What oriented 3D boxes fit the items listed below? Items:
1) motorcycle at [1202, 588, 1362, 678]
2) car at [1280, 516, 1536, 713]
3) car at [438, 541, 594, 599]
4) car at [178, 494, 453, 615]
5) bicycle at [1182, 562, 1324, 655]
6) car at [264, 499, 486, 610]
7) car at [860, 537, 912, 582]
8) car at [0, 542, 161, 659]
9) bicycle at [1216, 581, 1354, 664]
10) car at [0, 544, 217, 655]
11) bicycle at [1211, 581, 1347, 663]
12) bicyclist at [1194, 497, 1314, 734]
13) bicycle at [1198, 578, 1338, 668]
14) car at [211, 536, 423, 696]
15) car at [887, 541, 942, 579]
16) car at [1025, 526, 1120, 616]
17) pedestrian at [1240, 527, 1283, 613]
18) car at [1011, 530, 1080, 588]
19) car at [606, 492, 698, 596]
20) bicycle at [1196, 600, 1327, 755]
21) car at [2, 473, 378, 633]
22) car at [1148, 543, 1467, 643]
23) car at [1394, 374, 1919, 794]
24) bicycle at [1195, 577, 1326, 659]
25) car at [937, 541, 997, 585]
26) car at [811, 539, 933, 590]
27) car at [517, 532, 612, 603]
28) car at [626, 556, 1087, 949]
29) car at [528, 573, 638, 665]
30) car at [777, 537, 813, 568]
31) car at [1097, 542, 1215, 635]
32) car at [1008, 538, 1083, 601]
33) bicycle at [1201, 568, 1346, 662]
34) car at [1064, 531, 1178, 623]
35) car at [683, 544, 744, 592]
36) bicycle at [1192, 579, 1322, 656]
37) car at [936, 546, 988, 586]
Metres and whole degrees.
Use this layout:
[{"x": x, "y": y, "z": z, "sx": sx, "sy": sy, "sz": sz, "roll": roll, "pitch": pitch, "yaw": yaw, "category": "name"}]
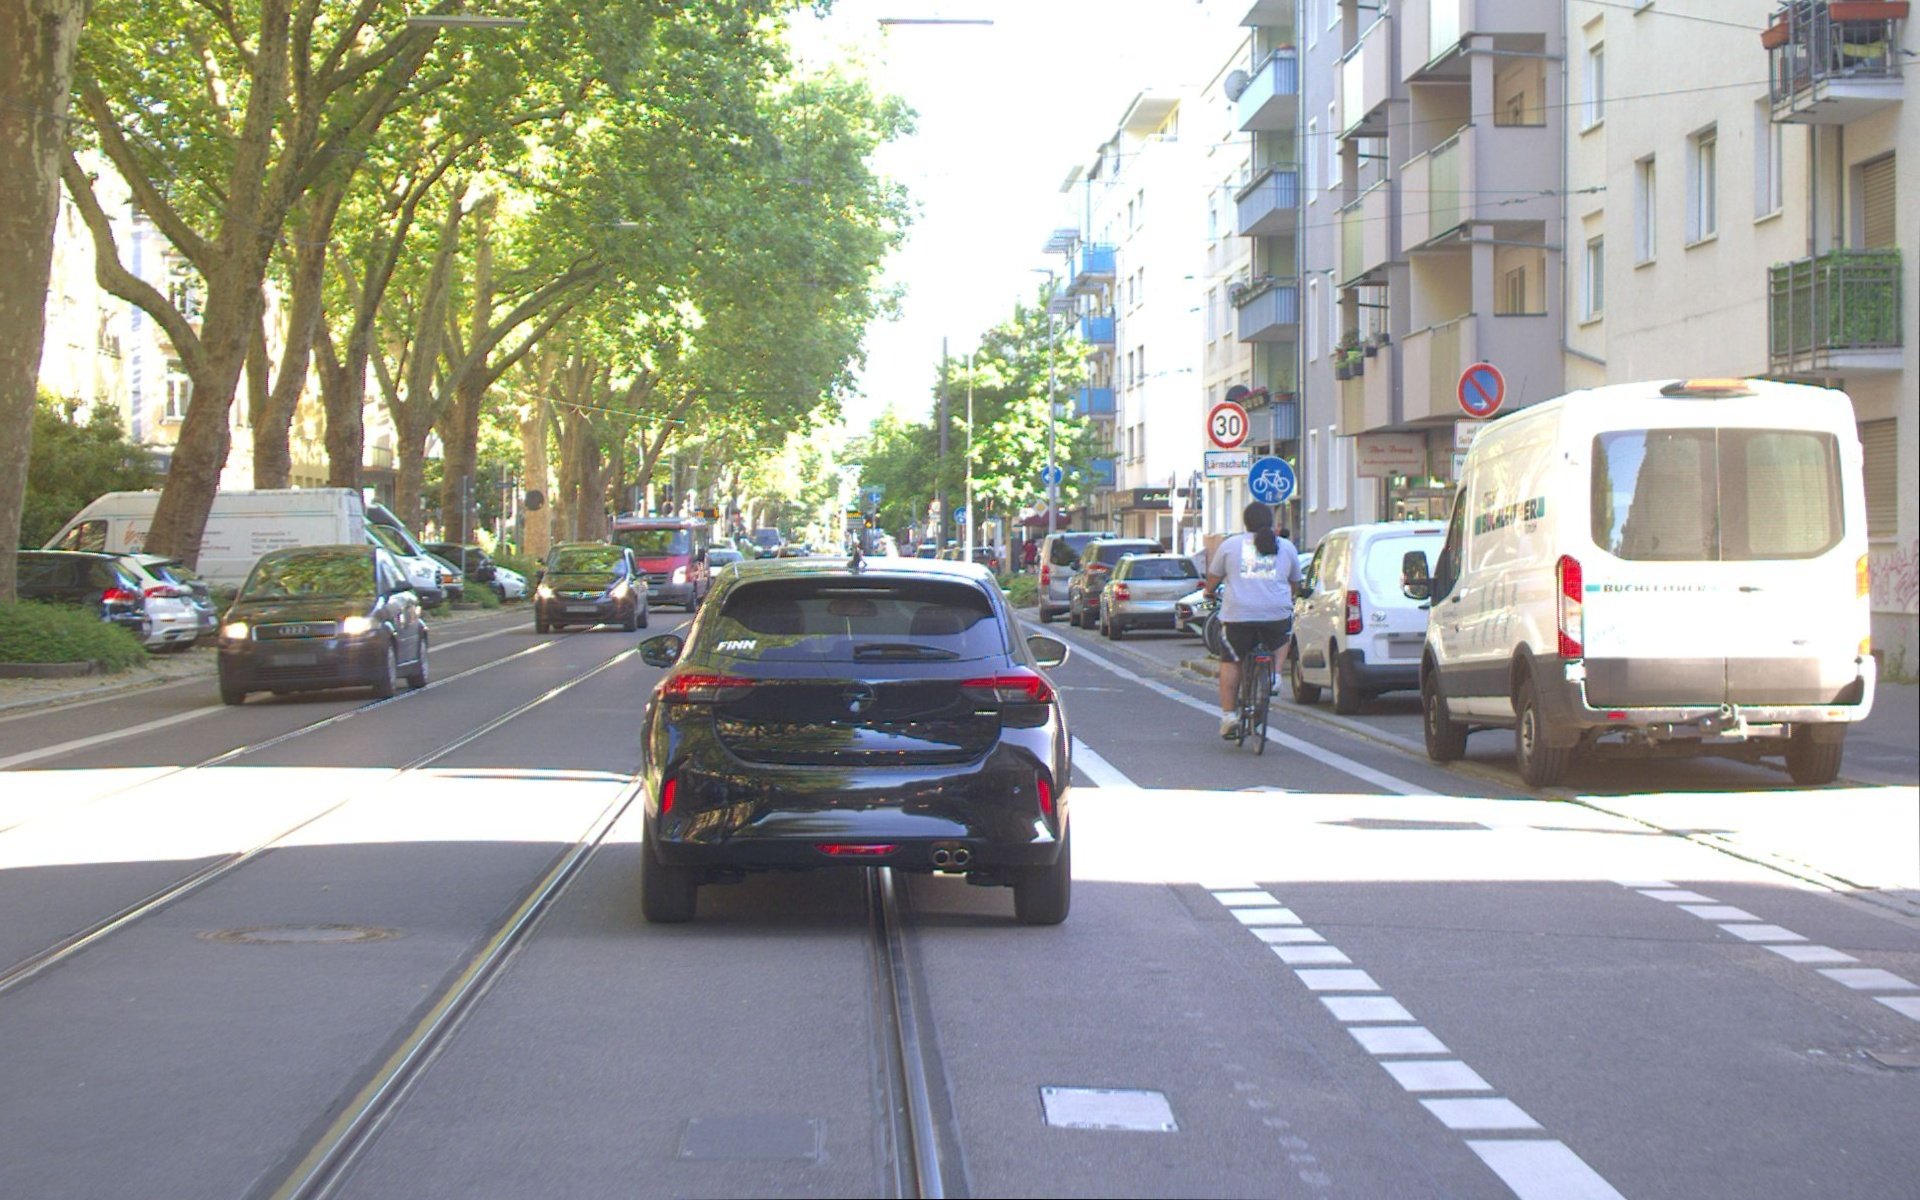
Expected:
[{"x": 3.918, "y": 0.400, "z": 41.818, "sx": 1.820, "sy": 1.076, "sz": 0.617, "roll": -1, "pitch": 1, "yaw": 22, "category": "motorcycle"}, {"x": 4.325, "y": 0.092, "z": 33.810, "sx": 1.858, "sy": 1.814, "sz": 4.351, "roll": 0, "pitch": 1, "yaw": -1, "category": "car"}, {"x": -11.786, "y": -0.816, "z": 91.427, "sx": 3.986, "sy": 1.516, "sz": 1.771, "roll": 0, "pitch": 1, "yaw": -3, "category": "car"}, {"x": -13.355, "y": -0.941, "z": 71.443, "sx": 5.360, "sy": 2.469, "sz": 2.057, "roll": 0, "pitch": 1, "yaw": -1, "category": "car"}, {"x": 3.936, "y": 0.113, "z": 46.243, "sx": 1.823, "sy": 1.187, "sz": 0.457, "roll": -2, "pitch": 1, "yaw": -2, "category": "bicycle"}, {"x": -13.580, "y": -1.060, "z": 80.041, "sx": 4.942, "sy": 2.559, "sz": 2.083, "roll": 0, "pitch": 1, "yaw": -5, "category": "car"}, {"x": -2.749, "y": -1.518, "z": 128.457, "sx": 1.858, "sy": 1.646, "sz": 4.000, "roll": 0, "pitch": 1, "yaw": 0, "category": "car"}, {"x": -12.490, "y": -0.023, "z": 44.742, "sx": 3.793, "sy": 1.455, "sz": 1.704, "roll": 1, "pitch": 1, "yaw": -1, "category": "car"}, {"x": 4.088, "y": 0.281, "z": 43.318, "sx": 1.652, "sy": 0.983, "sz": 0.457, "roll": -2, "pitch": 1, "yaw": -2, "category": "bicycle"}, {"x": -12.424, "y": -0.022, "z": 47.365, "sx": 3.987, "sy": 1.491, "sz": 1.830, "roll": 0, "pitch": 1, "yaw": -1, "category": "car"}, {"x": 4.063, "y": 0.273, "z": 43.855, "sx": 1.652, "sy": 0.983, "sz": 0.457, "roll": -2, "pitch": 1, "yaw": -2, "category": "bicycle"}, {"x": 2.217, "y": 0.109, "z": 26.006, "sx": 0.786, "sy": 1.753, "sz": 0.915, "roll": 0, "pitch": 1, "yaw": -2, "category": "bicyclist"}, {"x": 3.827, "y": 0.281, "z": 42.774, "sx": 1.652, "sy": 1.051, "sz": 0.457, "roll": -2, "pitch": 1, "yaw": -2, "category": "bicycle"}, {"x": -6.336, "y": 0.118, "z": 34.181, "sx": 1.635, "sy": 1.504, "sz": 3.692, "roll": 0, "pitch": 1, "yaw": -4, "category": "car"}, {"x": -1.964, "y": -1.728, "z": 148.021, "sx": 1.993, "sy": 1.634, "sz": 4.001, "roll": 0, "pitch": 1, "yaw": -6, "category": "car"}, {"x": 2.388, "y": -0.644, "z": 74.246, "sx": 1.858, "sy": 1.883, "sz": 4.925, "roll": 0, "pitch": 1, "yaw": 0, "category": "car"}, {"x": 6.041, "y": -0.612, "z": 68.871, "sx": 0.756, "sy": 1.714, "sz": 0.720, "roll": 0, "pitch": 1, "yaw": -3, "category": "pedestrian"}, {"x": 2.449, "y": -1.188, "z": 98.835, "sx": 1.858, "sy": 1.646, "sz": 4.000, "roll": 0, "pitch": 1, "yaw": 0, "category": "car"}, {"x": -6.803, "y": -1.244, "z": 76.368, "sx": 1.917, "sy": 2.219, "sz": 4.961, "roll": 0, "pitch": 1, "yaw": -4, "category": "car"}, {"x": 2.260, "y": 0.566, "z": 26.020, "sx": 0.701, "sy": 1.088, "sz": 1.990, "roll": 2, "pitch": 0, "yaw": -2, "category": "bicycle"}, {"x": -12.664, "y": -0.788, "z": 56.838, "sx": 5.740, "sy": 2.527, "sz": 2.163, "roll": 1, "pitch": 1, "yaw": -1, "category": "car"}, {"x": 5.444, "y": -0.129, "z": 54.101, "sx": 4.612, "sy": 1.432, "sz": 1.865, "roll": -1, "pitch": 1, "yaw": -13, "category": "car"}, {"x": 4.549, "y": -0.130, "z": 23.475, "sx": 2.149, "sy": 2.487, "sz": 6.089, "roll": 0, "pitch": 1, "yaw": -2, "category": "car"}, {"x": 3.951, "y": 0.232, "z": 45.246, "sx": 1.652, "sy": 1.017, "sz": 0.457, "roll": -2, "pitch": 1, "yaw": -2, "category": "bicycle"}, {"x": 0.234, "y": -1.349, "z": 123.466, "sx": 1.718, "sy": 1.568, "sz": 4.086, "roll": 0, "pitch": 1, "yaw": -6, "category": "car"}, {"x": -2.895, "y": -1.171, "z": 113.267, "sx": 3.986, "sy": 1.646, "sz": 1.865, "roll": 0, "pitch": 1, "yaw": -2, "category": "car"}, {"x": -9.943, "y": -0.844, "z": 86.729, "sx": 1.993, "sy": 1.694, "sz": 4.485, "roll": -2, "pitch": 1, "yaw": -2, "category": "car"}, {"x": -0.461, "y": 0.548, "z": 14.631, "sx": 1.679, "sy": 1.417, "sz": 3.628, "roll": 2, "pitch": 1, "yaw": -2, "category": "car"}, {"x": -6.452, "y": 0.302, "z": 59.061, "sx": 1.717, "sy": 1.504, "sz": 3.723, "roll": 0, "pitch": 1, "yaw": -4, "category": "car"}, {"x": -8.709, "y": -2.523, "z": 181.699, "sx": 1.750, "sy": 1.646, "sz": 4.000, "roll": 0, "pitch": 1, "yaw": 0, "category": "car"}, {"x": 3.315, "y": -0.222, "z": 58.780, "sx": 1.724, "sy": 1.520, "sz": 4.513, "roll": 0, "pitch": 1, "yaw": 0, "category": "car"}, {"x": 2.238, "y": -0.820, "z": 91.239, "sx": 1.858, "sy": 1.646, "sz": 4.000, "roll": 0, "pitch": 1, "yaw": 0, "category": "car"}, {"x": 4.049, "y": 0.189, "z": 44.543, "sx": 1.794, "sy": 1.144, "sz": 0.704, "roll": -2, "pitch": 1, "yaw": 2, "category": "bicycle"}, {"x": 3.030, "y": -0.456, "z": 65.406, "sx": 1.766, "sy": 1.699, "sz": 4.283, "roll": 0, "pitch": 1, "yaw": -3, "category": "car"}, {"x": -7.116, "y": -0.936, "z": 99.482, "sx": 1.717, "sy": 1.354, "sz": 4.471, "roll": 0, "pitch": 1, "yaw": -4, "category": "car"}, {"x": 3.945, "y": 0.228, "z": 45.769, "sx": 1.652, "sy": 0.963, "sz": 0.457, "roll": -2, "pitch": 1, "yaw": -2, "category": "bicycle"}, {"x": 0.072, "y": -1.278, "z": 129.204, "sx": 1.718, "sy": 1.485, "sz": 3.682, "roll": 0, "pitch": 1, "yaw": -3, "category": "car"}]
